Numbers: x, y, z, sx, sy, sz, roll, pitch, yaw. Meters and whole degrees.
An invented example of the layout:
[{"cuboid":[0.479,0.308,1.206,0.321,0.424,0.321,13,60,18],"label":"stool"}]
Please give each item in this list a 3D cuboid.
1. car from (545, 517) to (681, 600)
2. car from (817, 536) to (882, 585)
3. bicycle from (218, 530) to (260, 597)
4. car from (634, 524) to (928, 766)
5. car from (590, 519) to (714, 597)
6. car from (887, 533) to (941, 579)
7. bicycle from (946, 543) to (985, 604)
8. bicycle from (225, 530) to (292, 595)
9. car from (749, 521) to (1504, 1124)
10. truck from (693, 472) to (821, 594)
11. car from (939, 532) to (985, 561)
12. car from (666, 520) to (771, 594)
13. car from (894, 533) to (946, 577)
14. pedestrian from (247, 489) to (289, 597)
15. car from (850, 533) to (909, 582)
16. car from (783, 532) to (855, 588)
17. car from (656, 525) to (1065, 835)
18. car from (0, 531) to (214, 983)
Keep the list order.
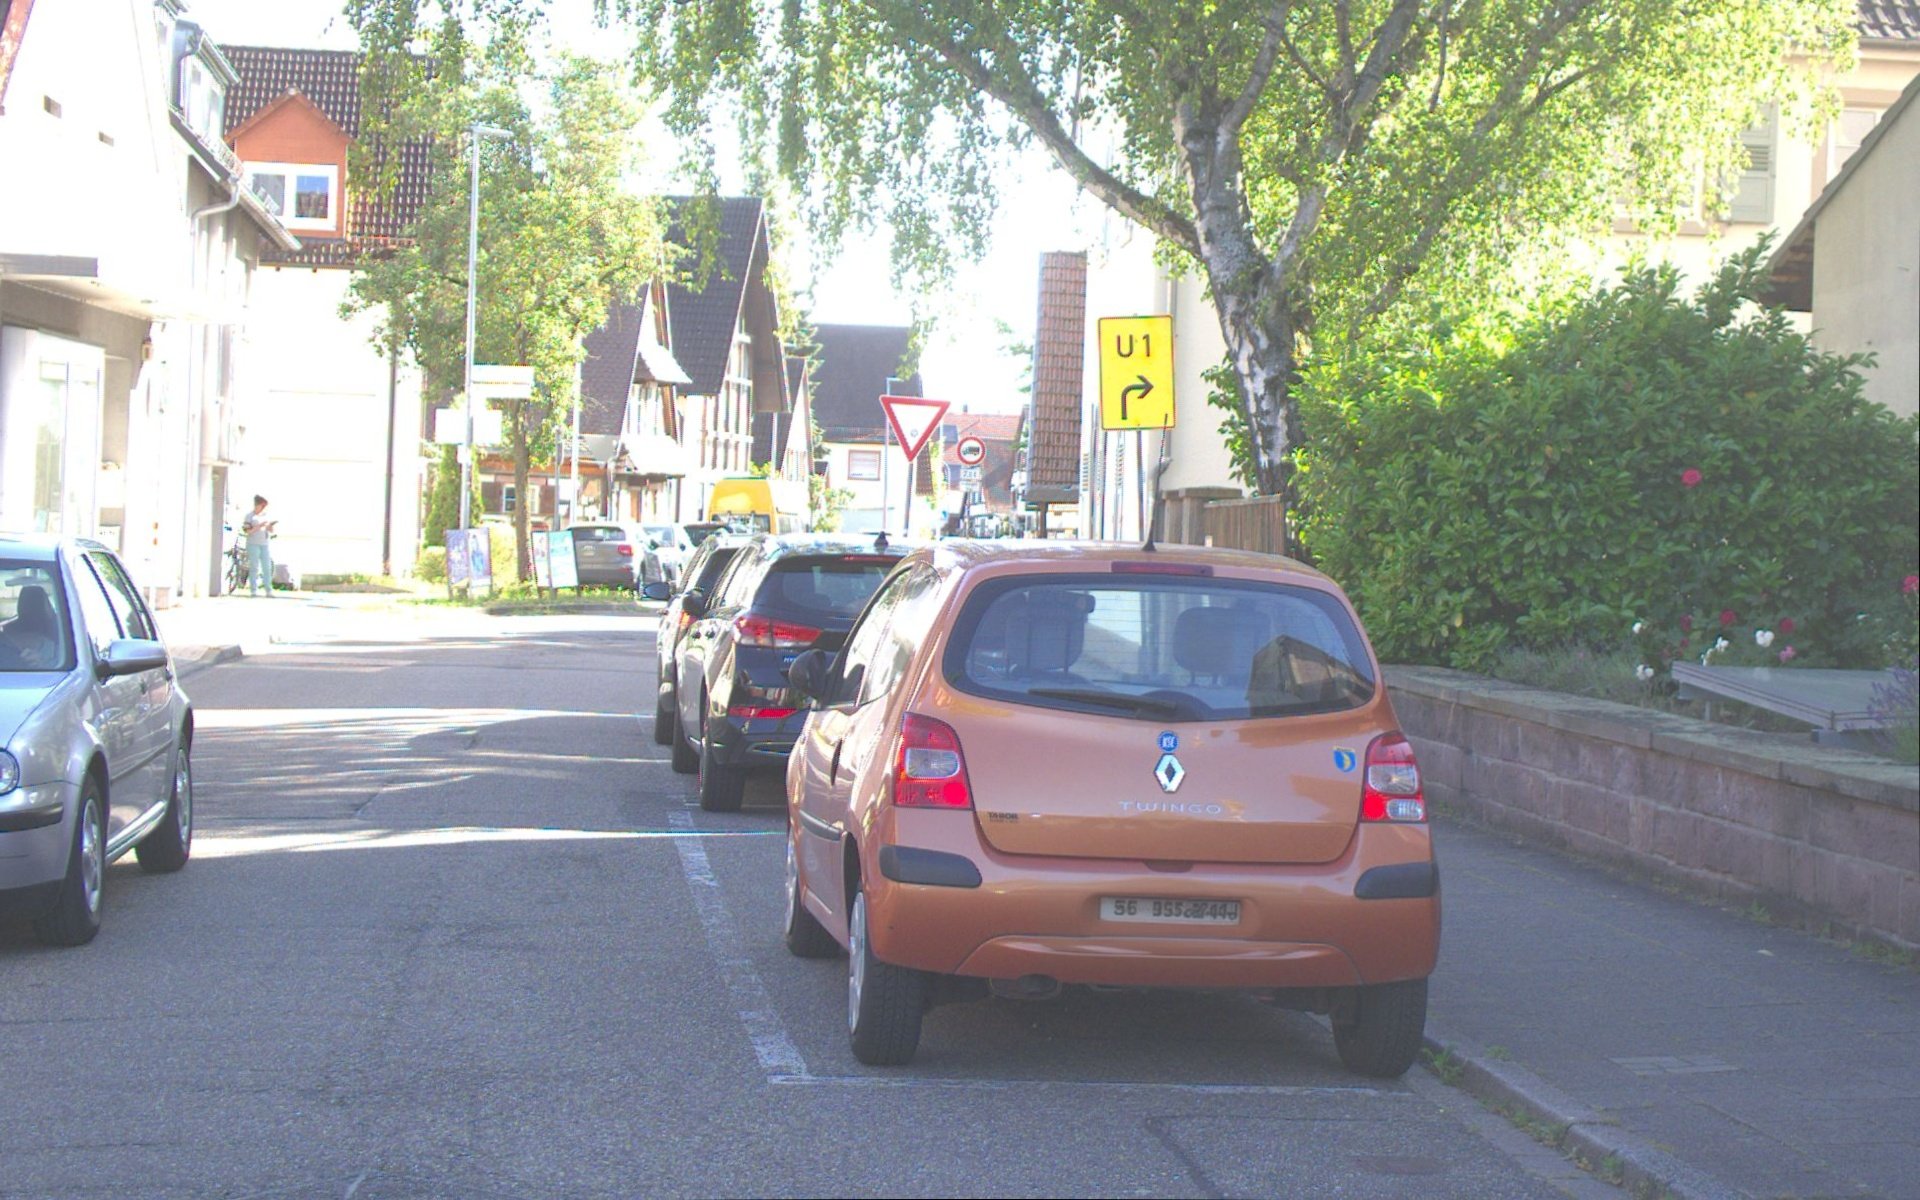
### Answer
[{"cuboid":[-6.708,-0.800,66.835,1.868,1.500,4.107,2,1,5],"label":"car"},{"cuboid":[-3.182,-1.144,99.224,1.588,1.331,3.614,3,1,2],"label":"car"},{"cuboid":[-11.434,-0.572,54.569,0.423,1.049,1.381,2,0,-3],"label":"bicycle"},{"cuboid":[-1.266,0.241,23.957,1.807,1.431,4.286,2,2,-4],"label":"car"},{"cuboid":[-6.348,-0.862,71.212,1.807,1.500,4.107,2,1,5],"label":"car"},{"cuboid":[-1.535,-1.480,115.068,1.588,1.438,3.614,3,1,2],"label":"car"},{"cuboid":[0.114,-0.529,68.292,0.433,1.172,1.828,2,1,10],"label":"bicycle"},{"cuboid":[-11.814,-0.617,57.968,0.578,1.049,2.036,2,0,3],"label":"bicycle"},{"cuboid":[0.320,0.543,10.860,1.648,1.473,3.935,2,2,-8],"label":"car"},{"cuboid":[-5.016,-1.641,85.696,2.268,2.858,5.781,2,1,5],"label":"truck"},{"cuboid":[0.101,-3.110,200.570,1.972,1.577,3.996,2,1,-9],"label":"car"},{"cuboid":[-5.598,-0.997,80.113,1.807,1.616,3.880,2,1,5],"label":"car"},{"cuboid":[-1.372,-1.563,119.715,1.588,1.438,3.614,3,1,2],"label":"car"},{"cuboid":[-11.013,-0.907,54.751,0.483,1.687,0.557,2,-1,0],"label":"pedestrian"},{"cuboid":[-2.519,-1.347,107.839,1.588,1.438,3.614,3,1,2],"label":"car"},{"cuboid":[-3.872,-1.113,94.626,1.645,1.428,3.614,3,1,2],"label":"car"},{"cuboid":[-0.679,0.359,19.260,1.807,1.431,4.287,2,2,-8],"label":"car"},{"cuboid":[-3.871,0.457,12.789,1.670,1.398,3.893,1,1,-5],"label":"car"}]
